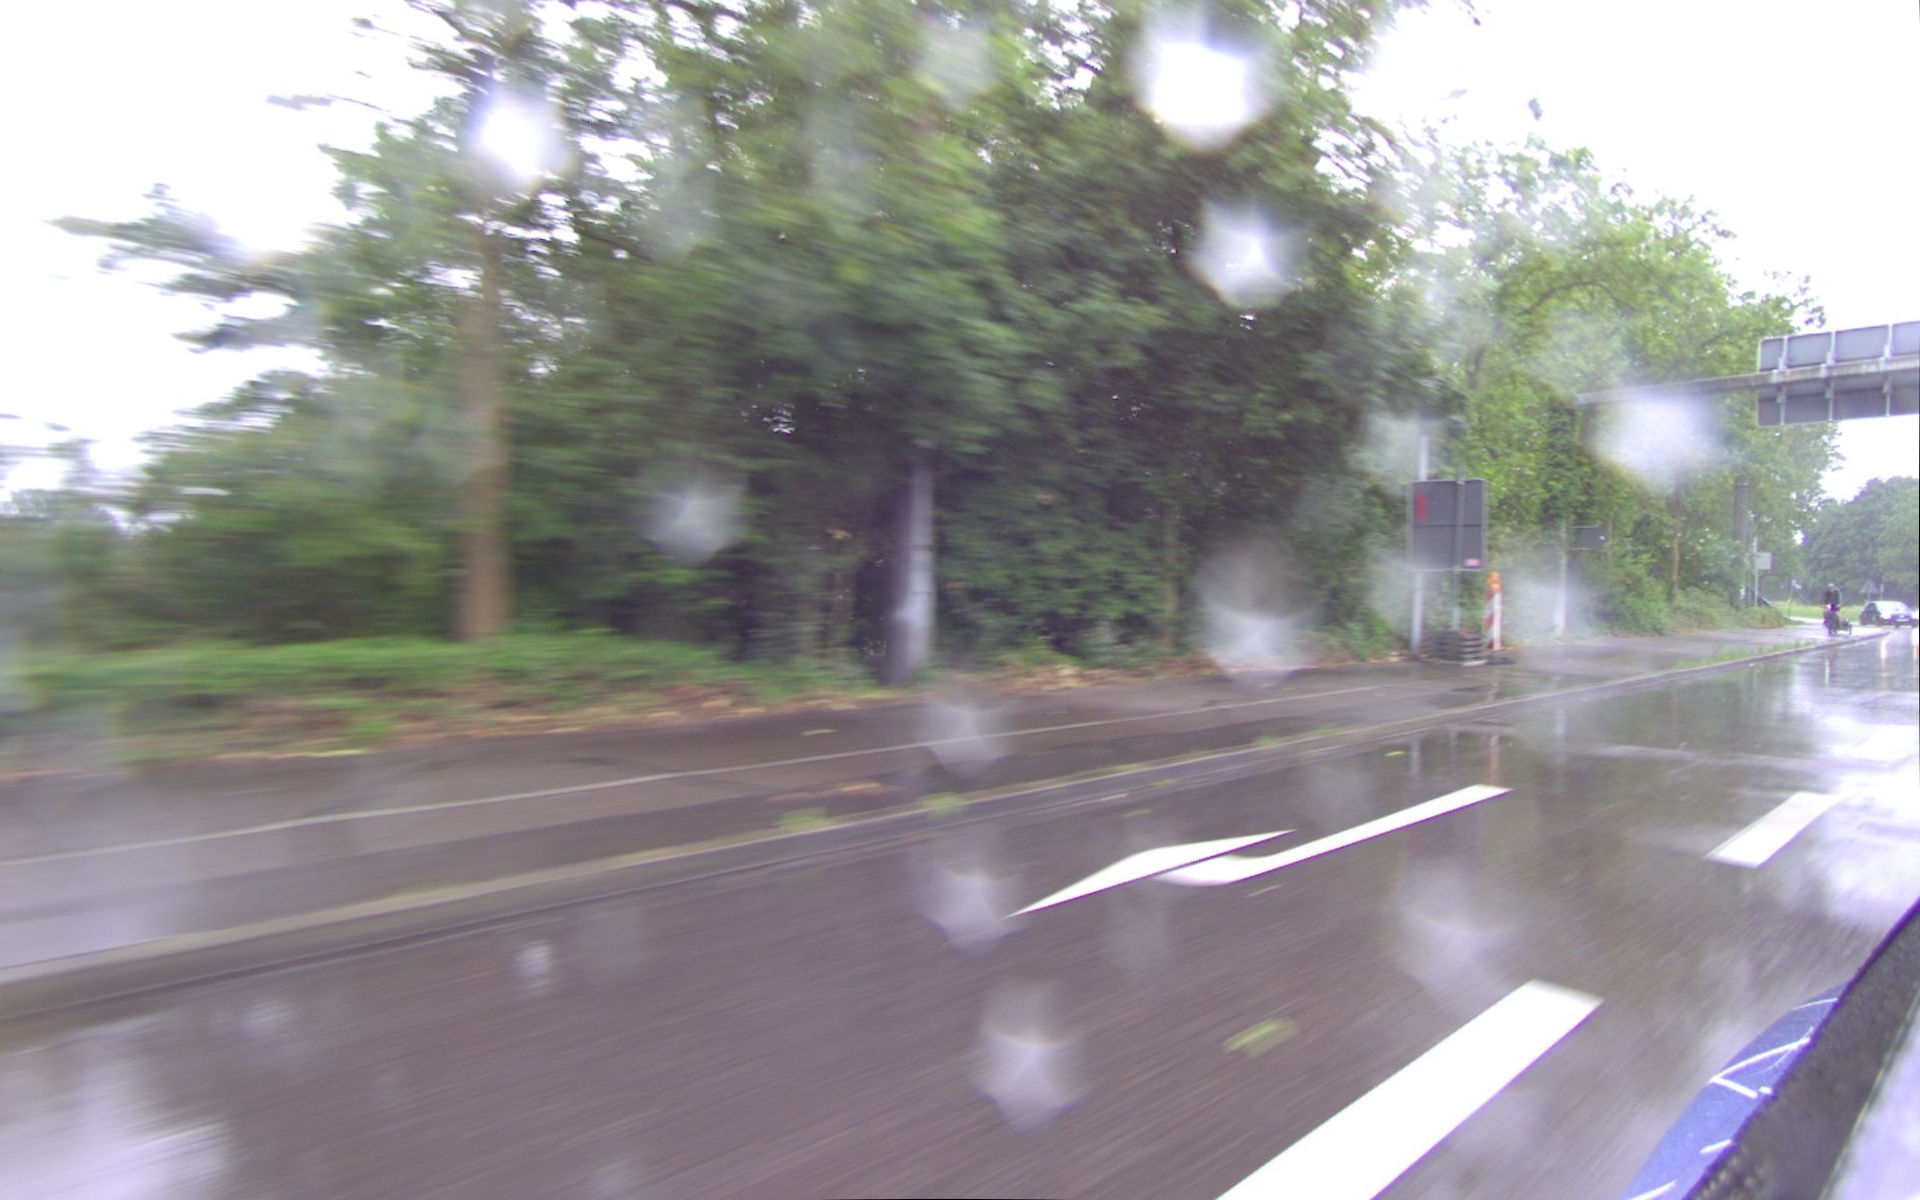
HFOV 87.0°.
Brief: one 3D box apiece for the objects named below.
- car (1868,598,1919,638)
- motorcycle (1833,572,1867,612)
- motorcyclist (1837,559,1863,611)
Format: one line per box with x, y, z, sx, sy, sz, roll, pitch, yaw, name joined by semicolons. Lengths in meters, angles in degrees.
51.938;0.957;55.686;1.981;2.039;3.962;1;1;27;car
40.149;-0.355;45.640;2.541;1.742;0.844;0;1;-42;motorcycle
40.050;-0.679;45.553;0.900;2.287;0.762;-1;1;-41;motorcyclist
